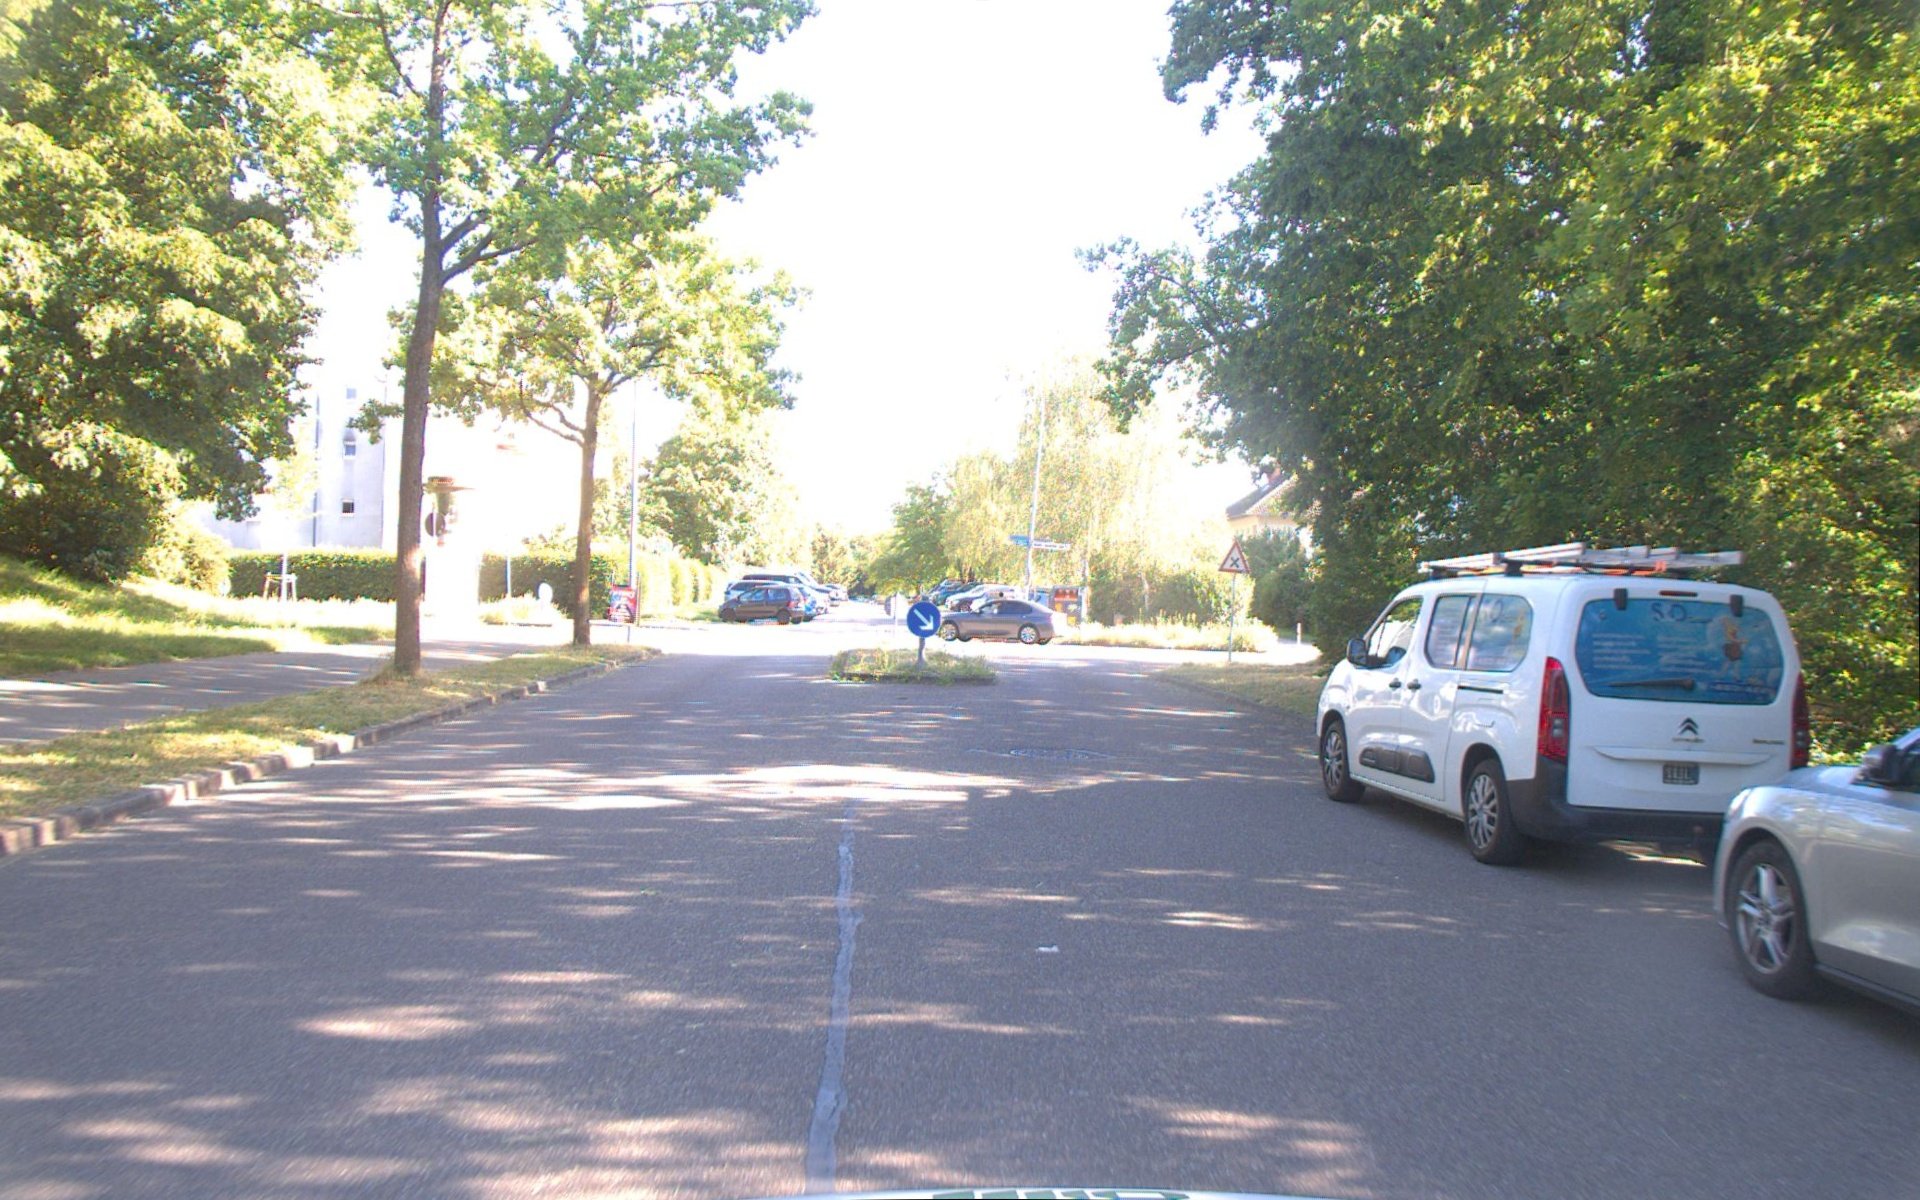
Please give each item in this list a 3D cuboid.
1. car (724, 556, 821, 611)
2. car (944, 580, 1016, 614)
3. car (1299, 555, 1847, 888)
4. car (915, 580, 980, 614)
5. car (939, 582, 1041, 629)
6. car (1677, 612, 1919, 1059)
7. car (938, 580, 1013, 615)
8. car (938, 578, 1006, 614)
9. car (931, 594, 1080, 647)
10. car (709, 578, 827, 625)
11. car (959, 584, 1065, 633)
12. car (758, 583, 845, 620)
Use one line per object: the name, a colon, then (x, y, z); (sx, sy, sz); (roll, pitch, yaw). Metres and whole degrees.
car: (-10.216, -0.909, 90.265); (5.101, 2.666, 2.290); (3, 0, -7)
car: (1.109, -0.172, 89.554); (3.759, 1.604, 1.689); (3, 0, 2)
car: (3.969, 0.679, 11.672); (1.756, 1.816, 4.552); (3, 0, -5)
car: (-0.744, -0.202, 100.617); (3.759, 1.827, 1.689); (3, 0, 2)
car: (1.180, 0.210, 63.803); (3.758, 1.604, 1.689); (3, 0, 4)
car: (4.230, 0.882, 5.535); (1.657, 1.538, 4.205); (3, 0, -2)
car: (0.825, -0.126, 86.410); (3.758, 1.604, 1.689); (3, 0, 4)
car: (0.719, -0.240, 95.742); (3.759, 1.827, 1.689); (3, 0, 2)
car: (1.513, 0.673, 54.545); (4.447, 1.459, 2.047); (3, 0, 18)
car: (-7.516, 0.063, 65.121); (4.228, 1.604, 2.047); (3, 0, 4)
car: (1.933, 0.311, 61.010); (3.758, 1.604, 1.689); (3, 0, 4)
car: (-7.786, 0.076, 81.417); (4.023, 1.604, 1.958); (3, 0, -1)
